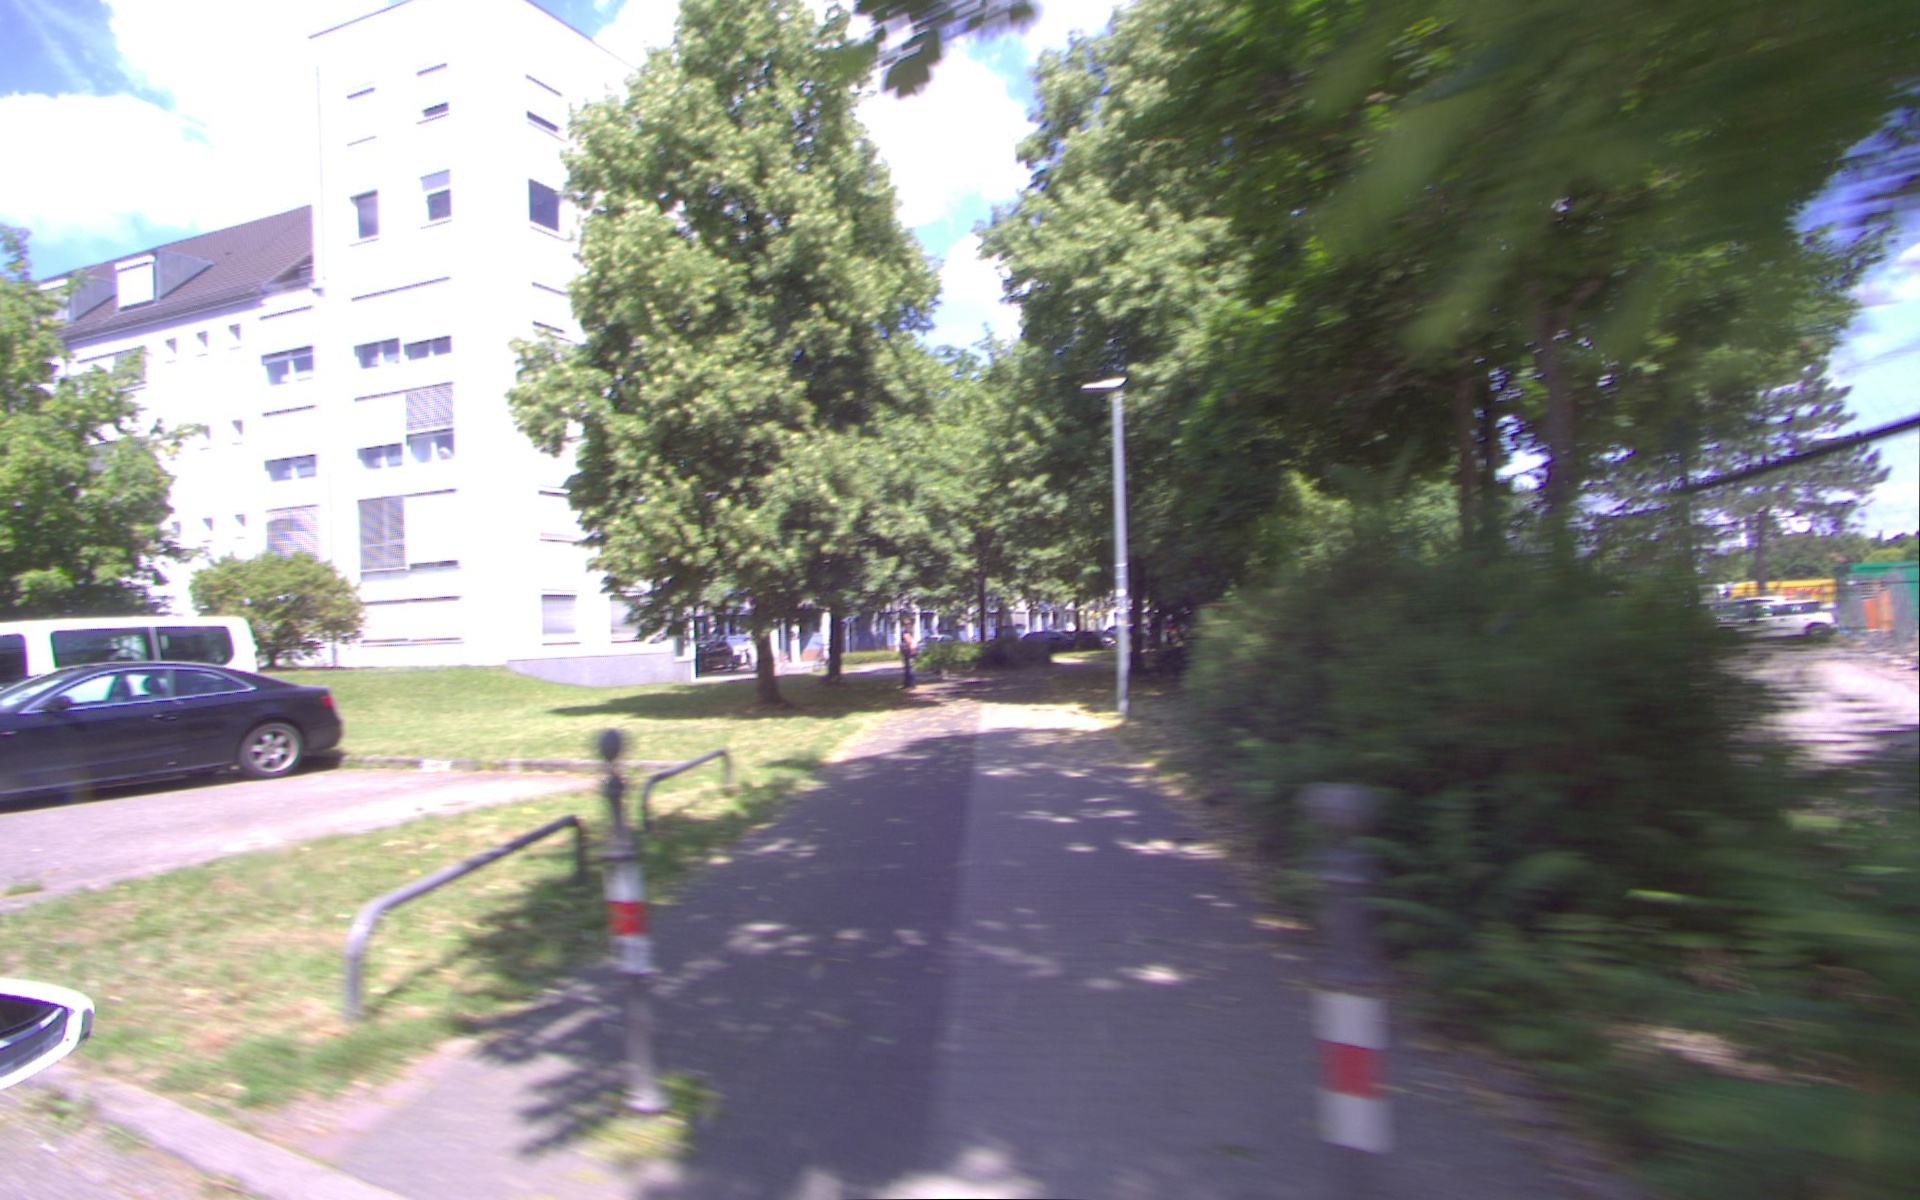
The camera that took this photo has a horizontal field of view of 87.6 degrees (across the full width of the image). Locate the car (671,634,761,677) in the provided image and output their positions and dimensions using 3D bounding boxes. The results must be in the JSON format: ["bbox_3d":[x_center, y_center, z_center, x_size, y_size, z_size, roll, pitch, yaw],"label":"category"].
[{"bbox_3d":[-10.104,2.266,41.754,1.648,1.641,3.614,-2,-1,28],"label":"car"}]

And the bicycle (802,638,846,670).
[{"bbox_3d":[-4.963,1.955,36.655,0.592,1.098,1.933,-1,-1,26],"label":"bicycle"}]

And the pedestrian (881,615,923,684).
[{"bbox_3d":[-1.352,1.158,23.449,0.728,1.584,0.749,-1,0,18],"label":"pedestrian"}]

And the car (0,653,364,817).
[{"bbox_3d":[-9.040,1.317,10.425,1.805,1.369,4.608,-2,-1,28],"label":"car"}]

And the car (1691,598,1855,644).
[{"bbox_3d":[26.942,0.727,33.361,3.941,1.438,1.991,-2,-1,30],"label":"car"}]

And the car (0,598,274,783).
[{"bbox_3d":[-11.278,1.047,11.917,1.970,2.039,4.756,-2,-2,28],"label":"car"}]
